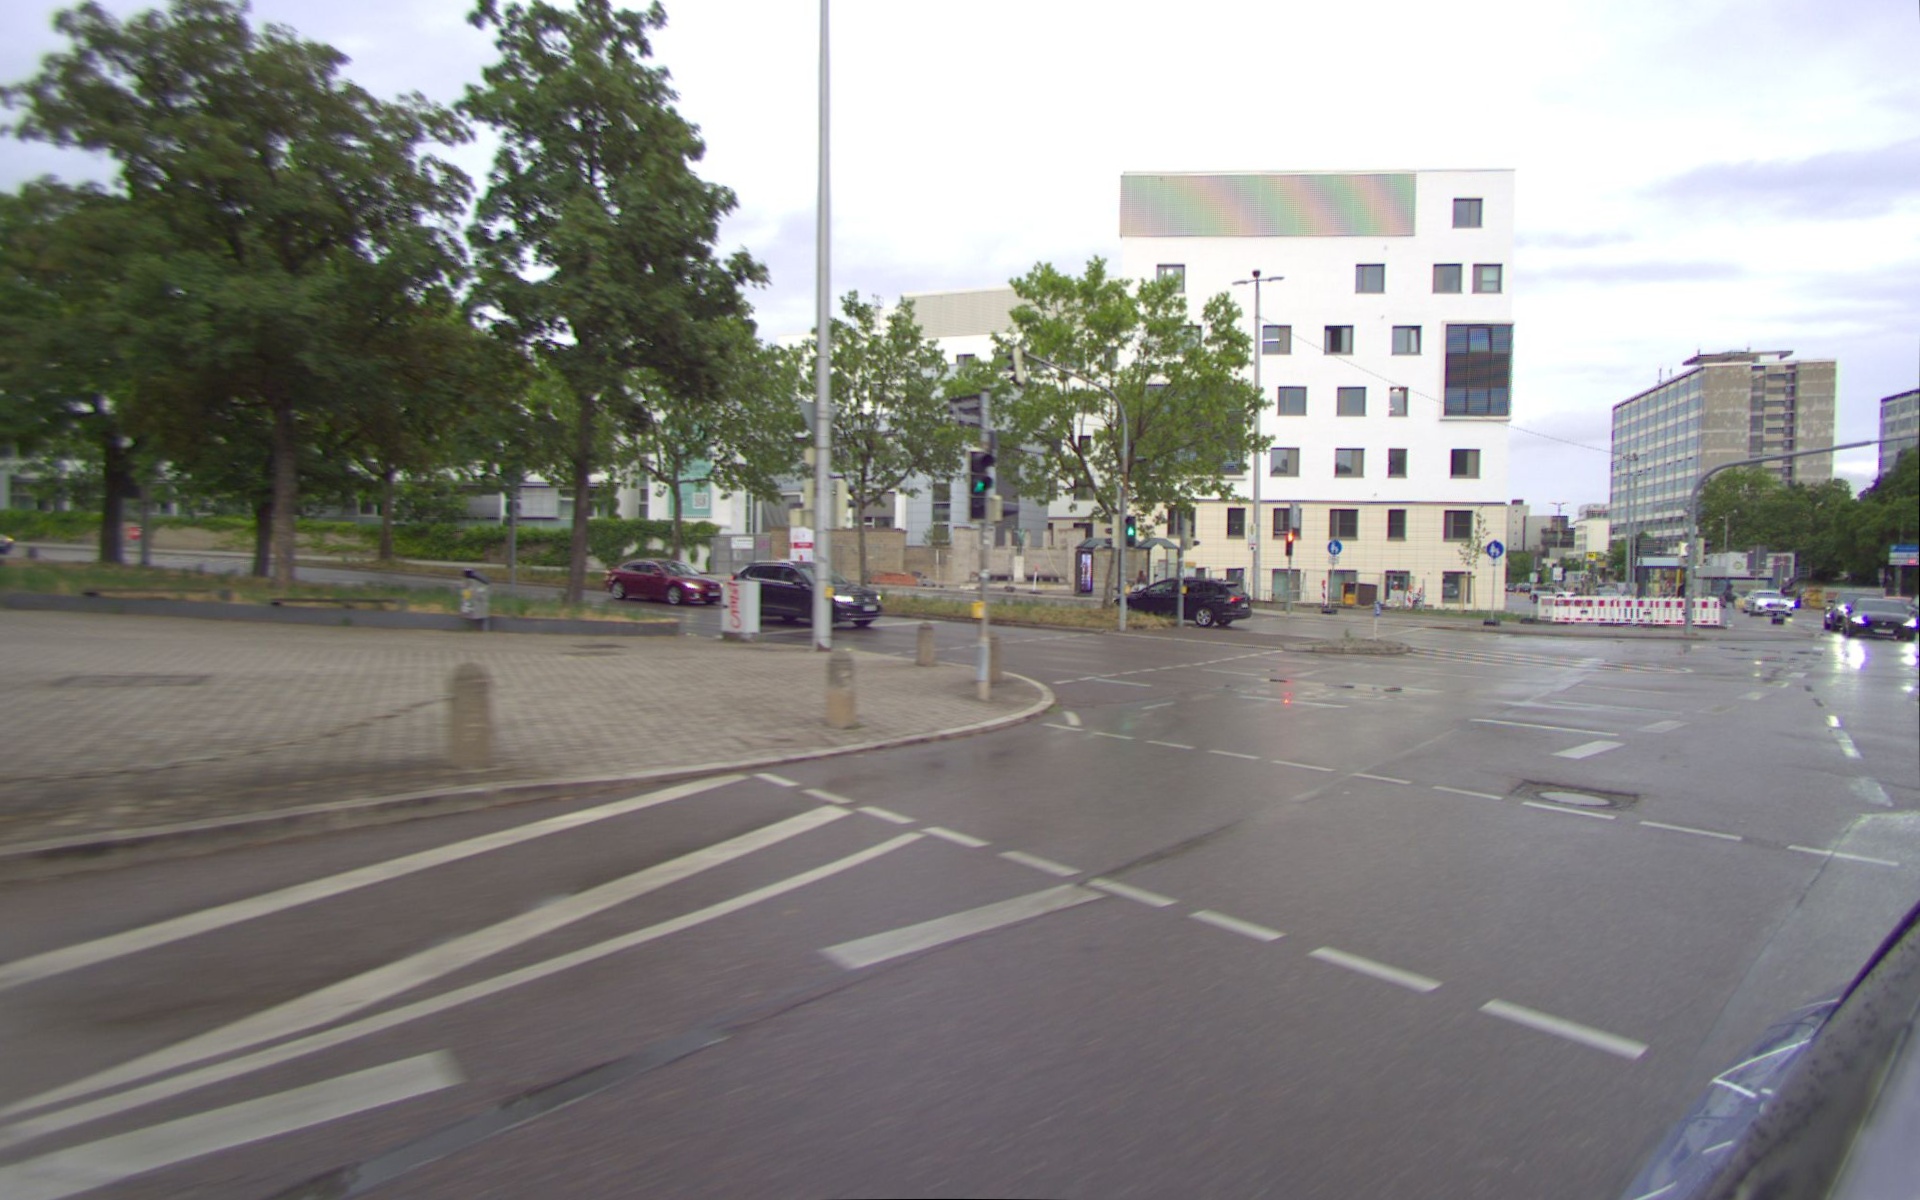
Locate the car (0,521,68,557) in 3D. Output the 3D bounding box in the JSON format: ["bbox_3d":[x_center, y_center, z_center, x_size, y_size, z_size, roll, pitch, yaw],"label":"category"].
[{"bbox_3d":[-40.871,-2.653,43.419,3.933,1.459,1.791,2,2,9],"label":"car"}]

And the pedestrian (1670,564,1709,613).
[{"bbox_3d":[30.194,-0.481,41.877,0.985,1.960,0.955,2,0,-29],"label":"pedestrian"}]

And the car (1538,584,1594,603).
[{"bbox_3d":[56.342,-0.588,94.142,1.928,1.576,4.067,2,1,-32],"label":"car"}]

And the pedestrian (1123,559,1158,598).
[{"bbox_3d":[8.290,-0.973,46.444,1.239,1.741,1.015,2,0,-40],"label":"pedestrian"}]

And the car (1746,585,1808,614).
[{"bbox_3d":[52.724,-0.041,65.386,1.945,1.722,4.126,3,1,23],"label":"car"}]

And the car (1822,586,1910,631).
[{"bbox_3d":[37.568,0.316,42.074,1.986,1.685,4.336,3,2,33],"label":"car"}]

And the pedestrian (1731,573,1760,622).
[{"bbox_3d":[30.503,-0.083,39.284,0.820,1.863,0.940,1,0,40],"label":"pedestrian"}]

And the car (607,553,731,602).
[{"bbox_3d":[-9.761,-0.792,33.895,3.967,1.459,1.776,3,3,30],"label":"car"}]

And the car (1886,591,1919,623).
[{"bbox_3d":[47.545,0.349,49.923,1.952,1.467,4.113,3,2,32],"label":"car"}]

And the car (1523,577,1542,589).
[{"bbox_3d":[92.350,-2.742,163.206,1.775,1.726,4.660,3,2,19],"label":"car"}]

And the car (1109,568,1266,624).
[{"bbox_3d":[7.052,-0.181,31.641,4.484,1.484,1.655,4,3,35],"label":"car"}]

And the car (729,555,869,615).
[{"bbox_3d":[-4.907,-0.492,30.646,3.967,1.604,1.776,3,3,30],"label":"car"}]

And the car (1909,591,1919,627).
[{"bbox_3d":[43.403,0.478,44.219,1.952,1.555,4.113,3,3,32],"label":"car"}]

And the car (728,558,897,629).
[{"bbox_3d":[-3.893,-0.238,26.447,4.249,1.583,1.851,4,4,35],"label":"car"}]

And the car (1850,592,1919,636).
[{"bbox_3d":[33.513,0.511,36.459,1.788,1.462,3.946,3,1,37],"label":"car"}]
